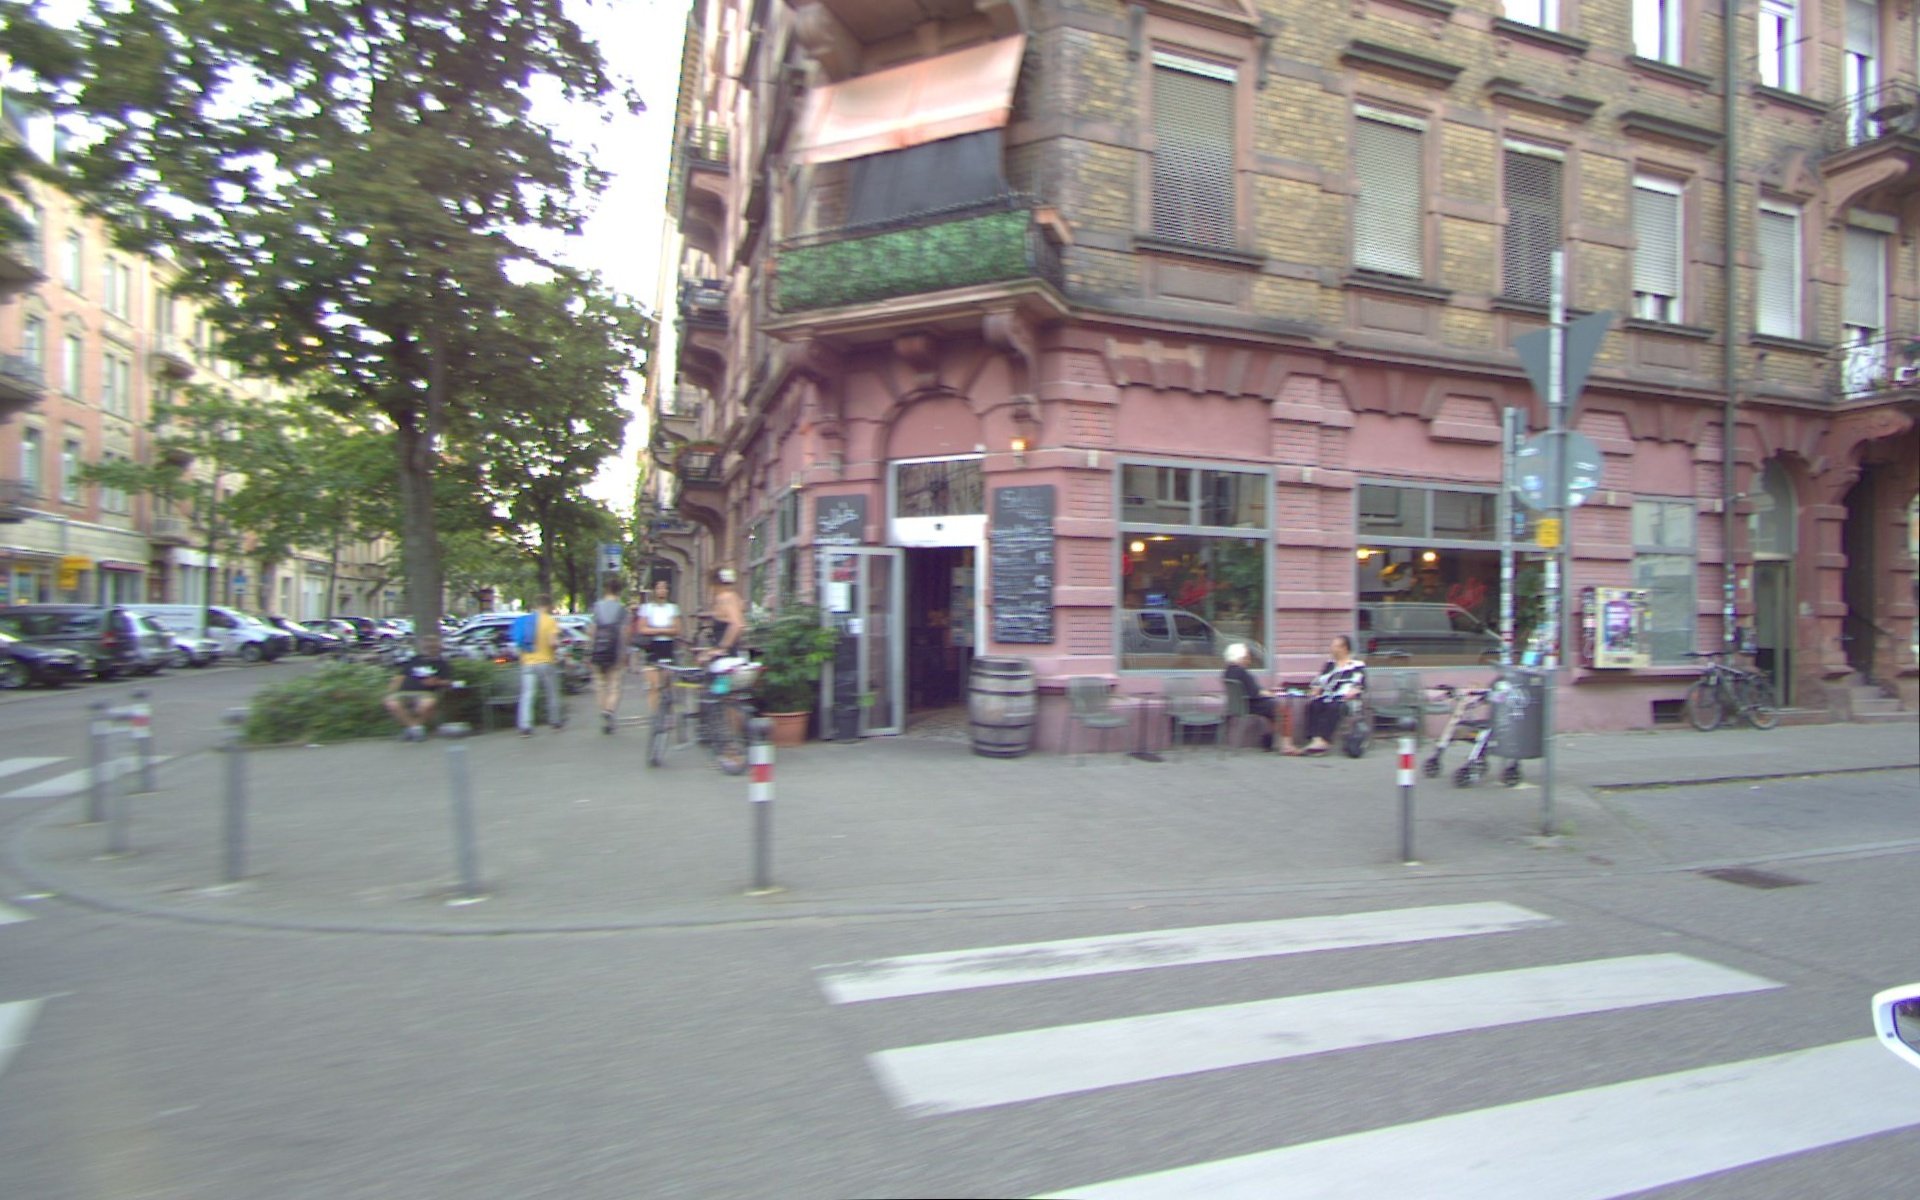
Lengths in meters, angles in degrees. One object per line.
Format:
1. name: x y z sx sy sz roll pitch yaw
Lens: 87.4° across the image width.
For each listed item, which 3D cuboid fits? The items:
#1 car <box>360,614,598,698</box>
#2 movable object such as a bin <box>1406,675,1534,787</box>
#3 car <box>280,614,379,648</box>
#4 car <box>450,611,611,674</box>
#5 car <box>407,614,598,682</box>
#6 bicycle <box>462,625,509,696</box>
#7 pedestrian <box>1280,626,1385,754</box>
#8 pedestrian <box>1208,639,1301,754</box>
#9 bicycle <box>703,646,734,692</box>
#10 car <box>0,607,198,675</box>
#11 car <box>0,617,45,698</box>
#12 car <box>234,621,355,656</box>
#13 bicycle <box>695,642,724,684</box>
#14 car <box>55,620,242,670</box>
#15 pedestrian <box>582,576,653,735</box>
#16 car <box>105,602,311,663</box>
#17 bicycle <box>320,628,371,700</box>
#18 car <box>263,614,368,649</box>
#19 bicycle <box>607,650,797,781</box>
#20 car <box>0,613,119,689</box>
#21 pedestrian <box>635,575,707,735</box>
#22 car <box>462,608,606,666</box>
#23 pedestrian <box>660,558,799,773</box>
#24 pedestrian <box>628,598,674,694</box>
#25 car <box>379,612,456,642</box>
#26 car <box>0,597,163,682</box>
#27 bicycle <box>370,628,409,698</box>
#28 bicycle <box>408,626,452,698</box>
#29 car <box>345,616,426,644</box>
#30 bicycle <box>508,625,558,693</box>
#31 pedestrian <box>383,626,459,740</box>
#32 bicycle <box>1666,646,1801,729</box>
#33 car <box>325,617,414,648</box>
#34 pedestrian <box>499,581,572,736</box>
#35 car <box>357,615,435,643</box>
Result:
1. car: -10.218 1.205 21.752 4.406 1.647 1.881 2 -1 -20
2. movable object such as a bin: 4.693 1.184 9.262 0.719 0.928 0.759 2 -1 -23
3. car: -30.508 1.529 48.717 3.754 1.528 1.713 2 -2 -20
4. car: -13.204 1.311 31.194 4.406 1.824 1.968 2 -1 -21
5. car: -11.971 1.278 26.633 4.406 1.647 1.881 2 -1 -20
6. bicycle: -9.069 1.122 19.184 0.679 1.235 1.798 -1 0 -29
7. pedestrian: 4.033 0.945 10.886 0.899 1.271 0.643 0 3 -35
8. pedestrian: 3.097 1.005 10.577 0.779 1.158 0.503 2 -1 -18
9. bicycle: -5.133 1.439 21.306 0.589 0.901 1.491 0 -1 -16
10. car: -22.016 1.042 25.370 3.939 1.595 1.900 2 -2 -20
11. car: -19.538 1.012 18.403 3.631 1.496 1.714 2 -2 -20
12. car: -27.132 1.590 41.101 3.754 1.329 1.713 2 -2 -20
13. bicycle: -5.787 1.448 23.186 0.589 0.901 1.491 0 -1 -16
14. car: -23.230 1.293 28.925 3.754 1.329 1.713 2 -2 -20
15. pedestrian: -4.187 0.647 12.330 0.746 1.853 0.885 -2 1 -18
16. car: -25.088 1.117 33.755 5.026 1.854 2.111 2 -2 -17
17. bicycle: -11.023 1.118 18.062 0.698 1.192 1.938 -1 -1 -29
18. car: -29.859 1.479 46.660 3.754 1.528 1.713 2 -2 -20
19. bicycle: -2.363 1.005 9.147 1.744 1.039 0.611 -1 1 31
20. car: -20.331 1.029 20.855 3.941 1.530 1.843 2 -2 -22
21. pedestrian: -3.522 0.631 12.199 0.744 1.836 1.045 -2 1 -18
22. car: -14.535 1.269 34.559 4.406 1.824 1.968 2 -1 -21
23. pedestrian: -2.136 0.571 9.312 1.004 1.880 0.723 -1 1 31
24. pedestrian: -5.859 0.852 19.022 0.685 1.748 0.847 -2 1 -24
25. car: -35.017 1.722 64.938 3.933 1.809 1.994 2 -1 -15
26. car: -21.351 0.909 23.329 3.939 1.862 1.991 2 -2 -20
27. bicycle: -10.407 1.117 18.336 0.578 1.173 1.794 -1 -1 -29
28. bicycle: -9.884 1.118 18.708 0.679 1.219 1.798 -1 0 -29
29. car: -33.142 1.744 58.047 3.754 1.528 1.713 2 -2 -20
30. bicycle: -8.275 1.109 19.426 0.679 1.200 1.798 -1 0 -29
31. pedestrian: -6.643 1.001 12.410 0.725 1.322 0.788 -2 -1 -24
32. bicycle: 10.452 1.166 13.568 1.867 1.067 0.425 1 0 -17
33. car: -31.434 1.748 53.561 3.754 1.528 1.713 2 -2 -20
34. pedestrian: -5.198 0.689 12.354 0.747 1.815 0.783 -2 1 -22
35. car: -33.602 1.732 59.924 3.754 1.528 1.713 2 -2 -20
